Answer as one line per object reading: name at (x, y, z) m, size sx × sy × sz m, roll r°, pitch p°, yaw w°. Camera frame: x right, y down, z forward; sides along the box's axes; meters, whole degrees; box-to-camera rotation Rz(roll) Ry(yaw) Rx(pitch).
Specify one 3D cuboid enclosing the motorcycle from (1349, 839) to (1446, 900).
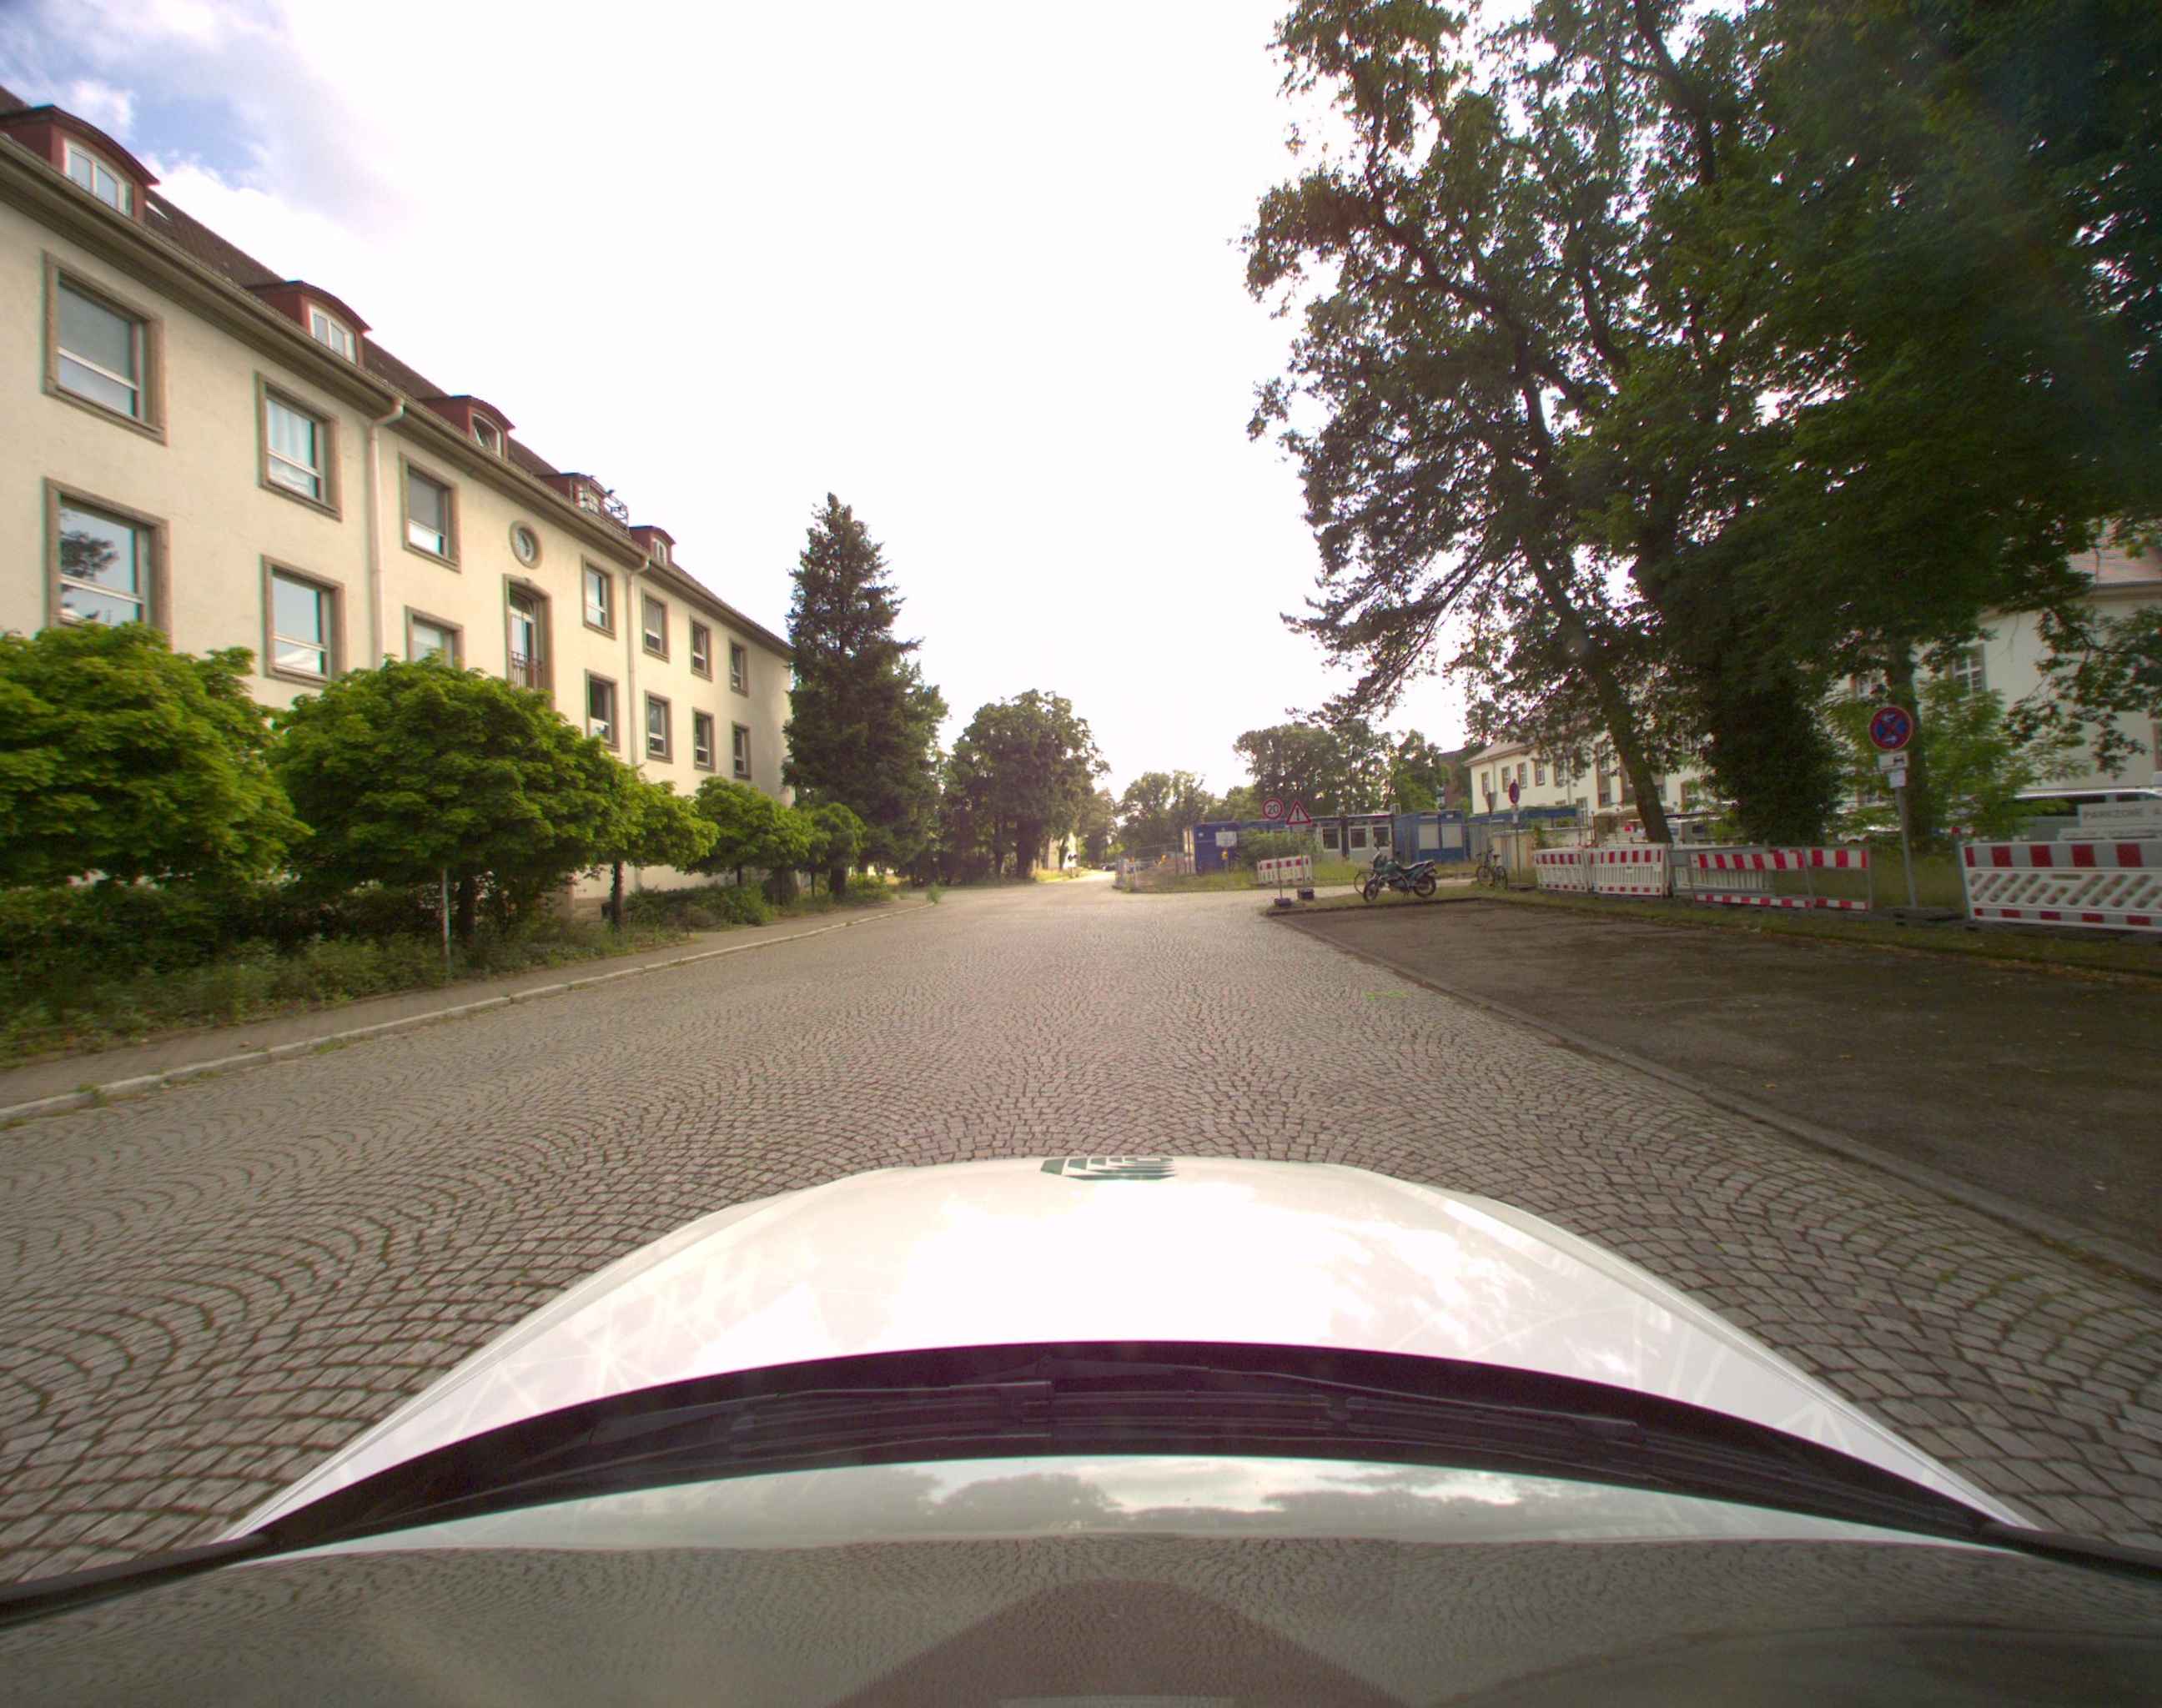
motorcycle at (8.501, 0.419, 21.919) m, size 2.271 × 1.485 × 0.756 m, roll -3°, pitch -1°, yaw -3°

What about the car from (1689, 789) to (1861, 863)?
car at (26.674, -0.960, 31.675) m, size 1.984 × 2.556 × 5.917 m, roll -1°, pitch -1°, yaw 5°

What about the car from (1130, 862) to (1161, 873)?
car at (9.701, 1.975, 122.739) m, size 4.375 × 1.510 × 2.006 m, roll -2°, pitch -1°, yaw 10°

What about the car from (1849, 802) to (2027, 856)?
car at (33.162, -0.906, 31.771) m, size 1.984 × 1.825 × 4.880 m, roll -1°, pitch -1°, yaw 5°

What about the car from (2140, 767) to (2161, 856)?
car at (33.450, -1.326, 21.508) m, size 2.004 × 2.578 × 6.366 m, roll -1°, pitch -1°, yaw -27°

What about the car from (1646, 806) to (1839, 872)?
car at (22.248, -0.488, 27.549) m, size 4.837 × 1.921 × 1.908 m, roll -3°, pitch 0°, yaw 3°

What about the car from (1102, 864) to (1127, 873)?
car at (6.634, 2.935, 162.856) m, size 4.769 × 1.641 × 1.998 m, roll -2°, pitch -1°, yaw -3°

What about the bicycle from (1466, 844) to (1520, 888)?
bicycle at (11.747, 0.336, 23.289) m, size 0.639 × 1.169 × 1.907 m, roll -3°, pitch -1°, yaw 5°

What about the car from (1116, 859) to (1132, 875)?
car at (5.922, 1.810, 113.283) m, size 1.986 × 2.014 × 4.092 m, roll -2°, pitch -1°, yaw 1°

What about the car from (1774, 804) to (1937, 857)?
car at (30.050, -0.830, 31.864) m, size 1.984 × 1.825 × 4.882 m, roll -1°, pitch -1°, yaw 5°

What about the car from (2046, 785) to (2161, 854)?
car at (30.085, -0.975, 21.975) m, size 2.003 × 1.825 × 4.835 m, roll -1°, pitch -1°, yaw -24°

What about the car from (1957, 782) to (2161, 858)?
car at (27.283, -0.863, 21.789) m, size 2.003 × 1.825 × 4.835 m, roll -1°, pitch -1°, yaw -24°

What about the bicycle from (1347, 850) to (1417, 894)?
bicycle at (8.972, 0.542, 24.303) m, size 1.882 × 1.197 × 0.659 m, roll -4°, pitch -1°, yaw 22°

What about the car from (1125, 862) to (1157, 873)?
car at (8.882, 1.949, 120.100) m, size 4.375 × 1.510 × 2.006 m, roll -2°, pitch -1°, yaw 10°

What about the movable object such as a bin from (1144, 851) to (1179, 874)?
movable object such as a bin at (9.518, 0.988, 96.435) m, size 2.108 × 2.593 × 4.821 m, roll -3°, pitch -1°, yaw 32°
